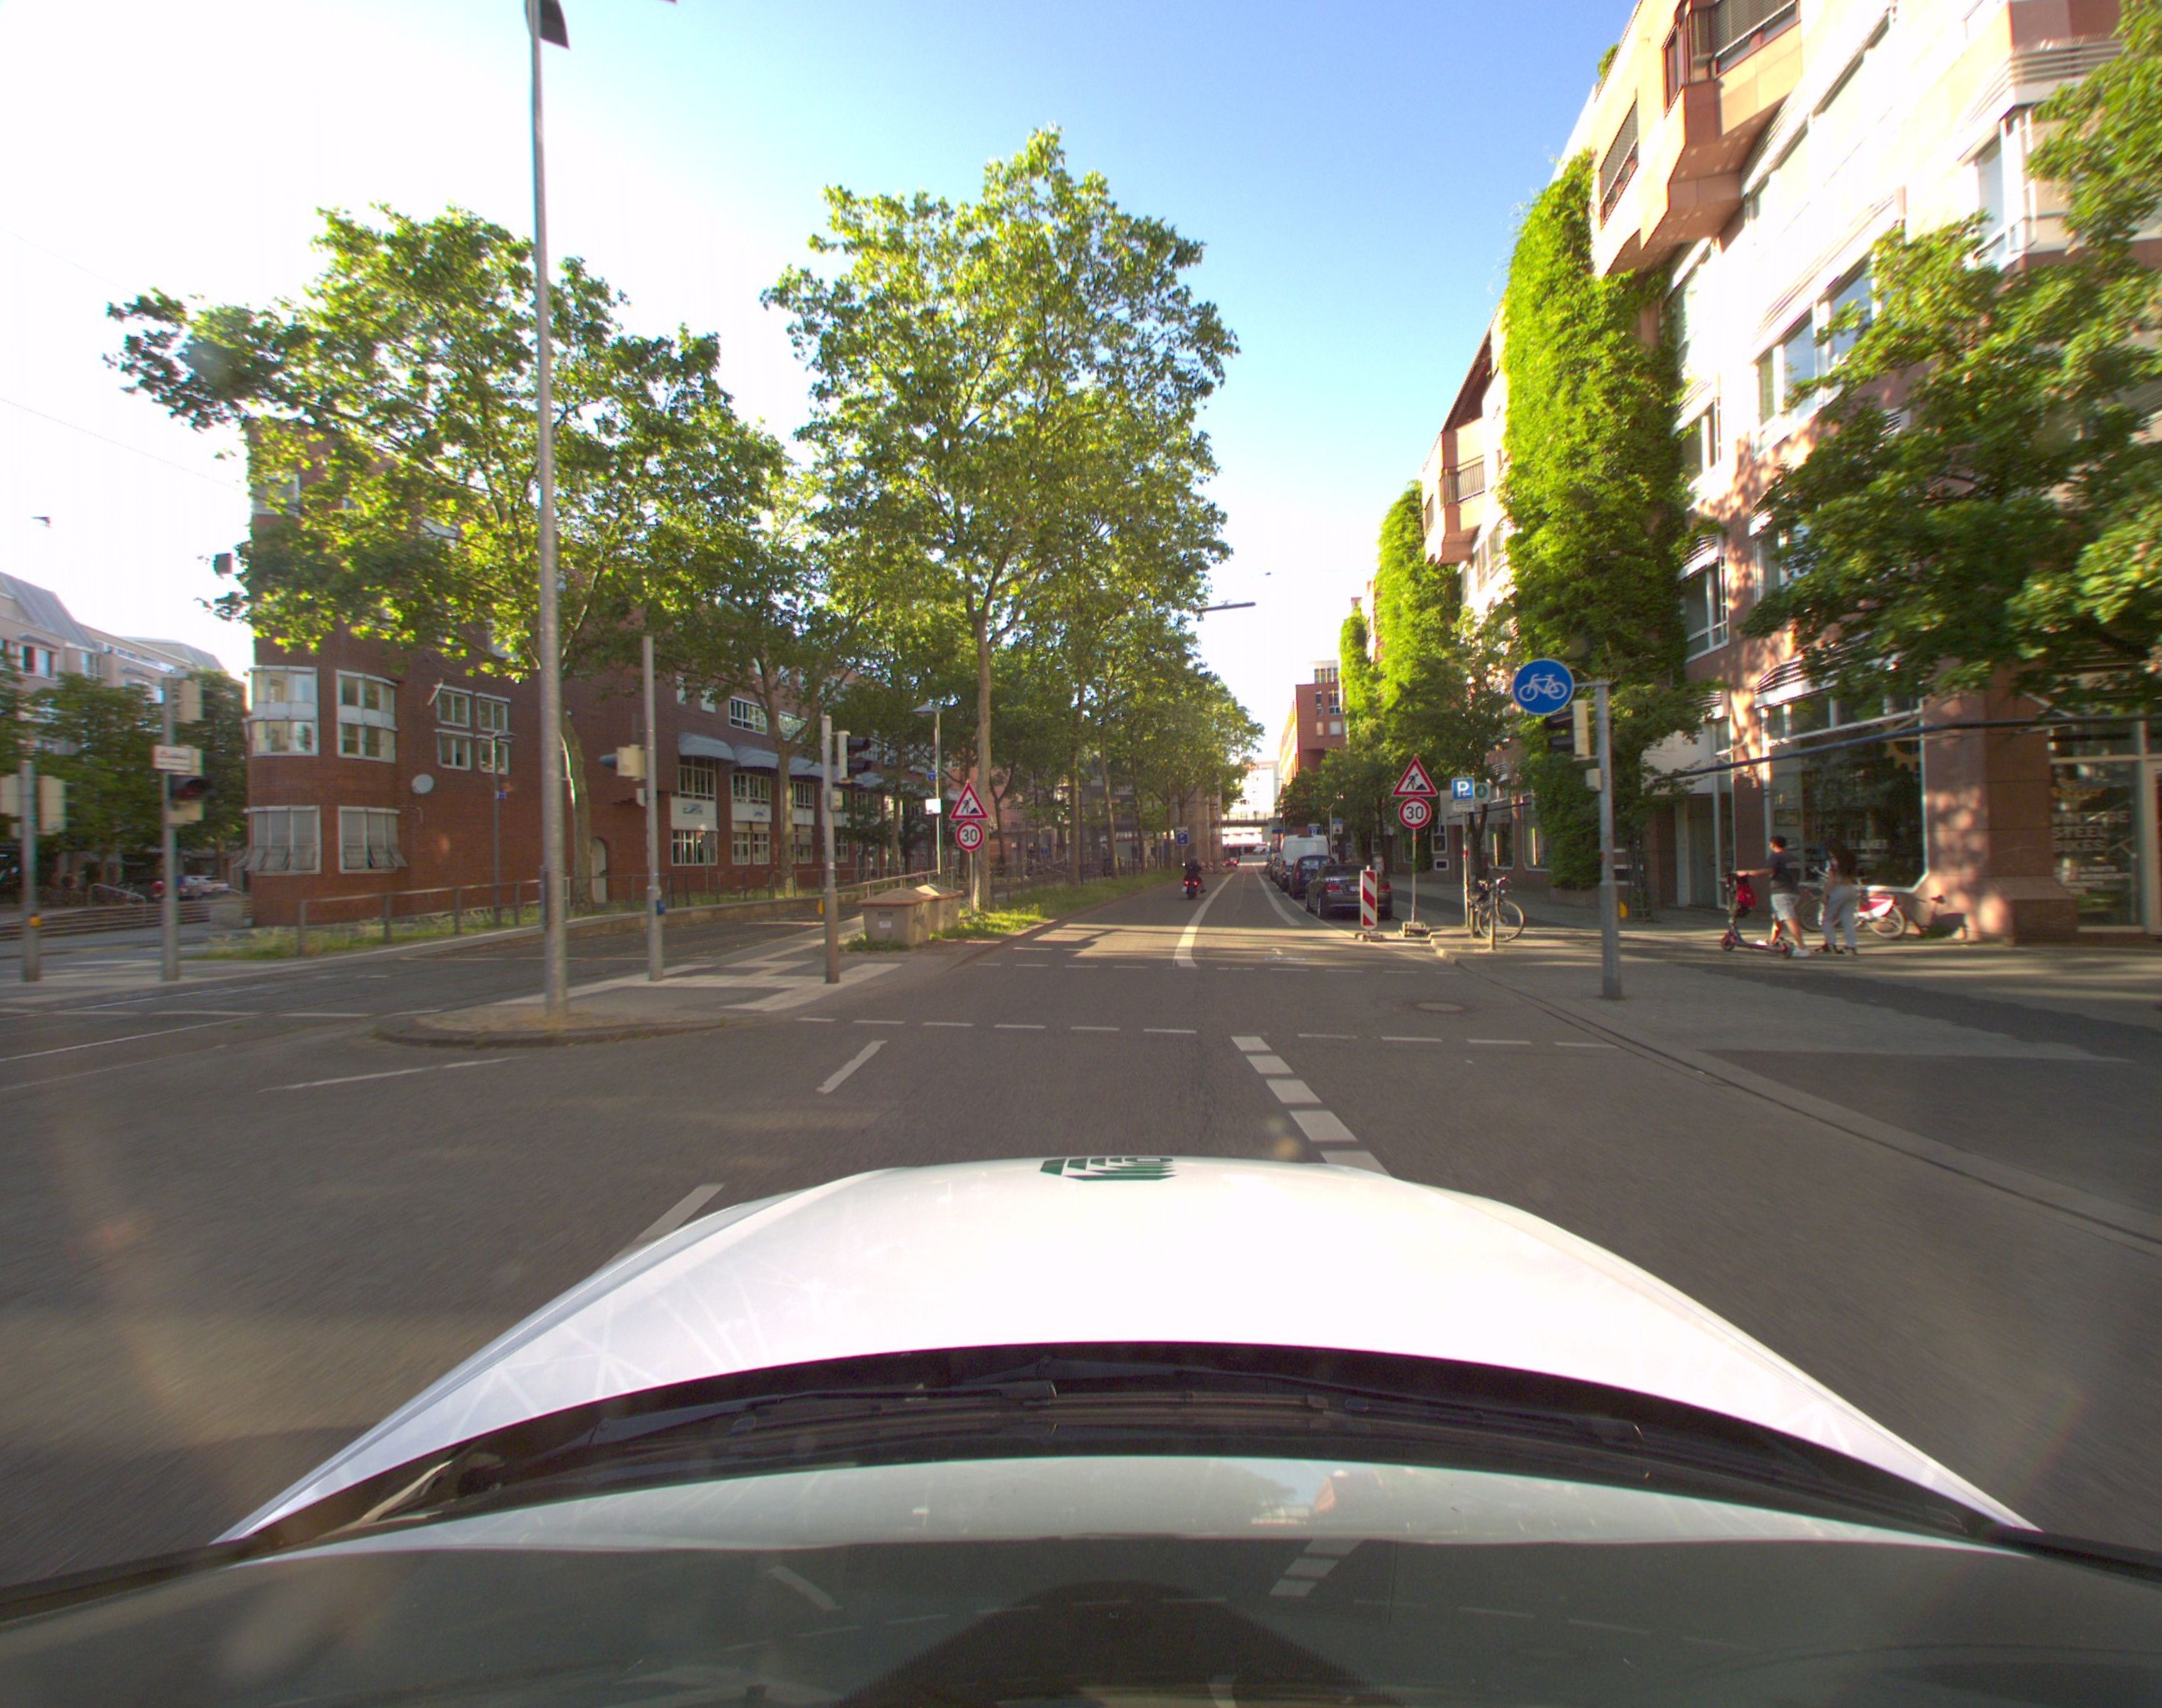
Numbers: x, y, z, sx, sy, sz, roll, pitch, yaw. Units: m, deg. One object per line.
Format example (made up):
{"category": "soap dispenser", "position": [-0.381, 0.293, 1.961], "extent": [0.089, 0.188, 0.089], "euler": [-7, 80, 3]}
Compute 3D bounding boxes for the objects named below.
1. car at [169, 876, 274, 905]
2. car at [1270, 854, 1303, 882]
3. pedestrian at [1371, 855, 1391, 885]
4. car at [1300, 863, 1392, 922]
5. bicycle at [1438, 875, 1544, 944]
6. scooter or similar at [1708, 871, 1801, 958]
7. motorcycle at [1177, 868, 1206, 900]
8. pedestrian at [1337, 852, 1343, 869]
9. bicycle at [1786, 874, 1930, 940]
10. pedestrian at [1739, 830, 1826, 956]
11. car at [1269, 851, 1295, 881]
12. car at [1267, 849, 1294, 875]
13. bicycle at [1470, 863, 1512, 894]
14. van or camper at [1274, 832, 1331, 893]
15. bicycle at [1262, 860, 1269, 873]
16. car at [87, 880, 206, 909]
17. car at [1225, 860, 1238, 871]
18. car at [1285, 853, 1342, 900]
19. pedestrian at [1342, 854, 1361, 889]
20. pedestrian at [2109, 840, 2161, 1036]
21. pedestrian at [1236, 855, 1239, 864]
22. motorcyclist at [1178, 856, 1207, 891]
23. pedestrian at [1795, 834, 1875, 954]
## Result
{"category": "car", "position": [-53.224, 2.228, 50.542], "extent": [1.980, 1.555, 4.013], "euler": [-2, 0, 12]}
{"category": "car", "position": [12.657, 0.833, 50.327], "extent": [1.610, 1.610, 3.784], "euler": [-2, 0, 9]}
{"category": "pedestrian", "position": [14.592, 0.755, 39.559], "extent": [0.758, 1.445, 0.785], "euler": [-1, -1, 31]}
{"category": "car", "position": [6.736, 0.926, 21.058], "extent": [1.610, 1.302, 4.323], "euler": [-2, 0, 9]}
{"category": "bicycle", "position": [6.946, 0.904, 13.910], "extent": [0.736, 1.053, 1.747], "euler": [-1, 0, -8]}
{"category": "scooter or similar", "position": [9.721, 0.844, 11.800], "extent": [0.392, 1.158, 1.252], "euler": [-2, 0, 7]}
{"category": "motorcycle", "position": [4.117, 1.098, 30.197], "extent": [1.012, 1.097, 2.012], "euler": [-1, 0, 9]}
{"category": "pedestrian", "position": [25.615, 0.637, 80.498], "extent": [0.448, 1.627, 0.374], "euler": [-1, -1, -5]}
{"category": "bicycle", "position": [12.430, 0.821, 13.109], "extent": [0.733, 0.939, 1.755], "euler": [-1, 0, 5]}
{"category": "pedestrian", "position": [10.196, 0.543, 11.841], "extent": [0.788, 1.763, 0.606], "euler": [-1, -1, -19]}
{"category": "car", "position": [13.534, 0.789, 54.879], "extent": [1.609, 1.865, 3.788], "euler": [-2, 0, 14]}
{"category": "car", "position": [16.319, 0.662, 66.764], "extent": [1.824, 2.014, 4.400], "euler": [-2, 0, 10]}
{"category": "bicycle", "position": [14.520, 0.860, 28.871], "extent": [0.615, 1.020, 1.916], "euler": [-1, 0, 4]}
{"category": "van or camper", "position": [10.089, 0.358, 37.448], "extent": [2.035, 2.540, 5.790], "euler": [-2, 0, 11]}
{"category": "bicycle", "position": [17.710, 1.223, 78.267], "extent": [0.659, 1.234, 2.235], "euler": [-2, 0, 12]}
{"category": "car", "position": [-53.152, 2.264, 46.434], "extent": [4.015, 1.400, 1.979], "euler": [-1, 0, -33]}
{"category": "car", "position": [24.603, 1.863, 133.026], "extent": [1.841, 1.717, 4.008], "euler": [-2, -1, 8]}
{"category": "car", "position": [8.647, 0.789, 30.568], "extent": [1.610, 1.619, 4.498], "euler": [-2, 0, 10]}
{"category": "pedestrian", "position": [13.118, 0.848, 39.503], "extent": [0.759, 1.645, 0.548], "euler": [-2, -1, 3]}
{"category": "pedestrian", "position": [9.035, 0.672, 6.512], "extent": [0.641, 1.578, 0.749], "euler": [-1, -1, 4]}
{"category": "pedestrian", "position": [35.232, 1.228, 183.169], "extent": [0.538, 1.882, 0.530], "euler": [-1, -1, 7]}
{"category": "motorcyclist", "position": [4.125, 0.720, 30.083], "extent": [1.005, 1.263, 0.776], "euler": [1, 0, 9]}
{"category": "pedestrian", "position": [10.914, 0.563, 11.801], "extent": [0.460, 1.672, 0.676], "euler": [-1, -1, -15]}
